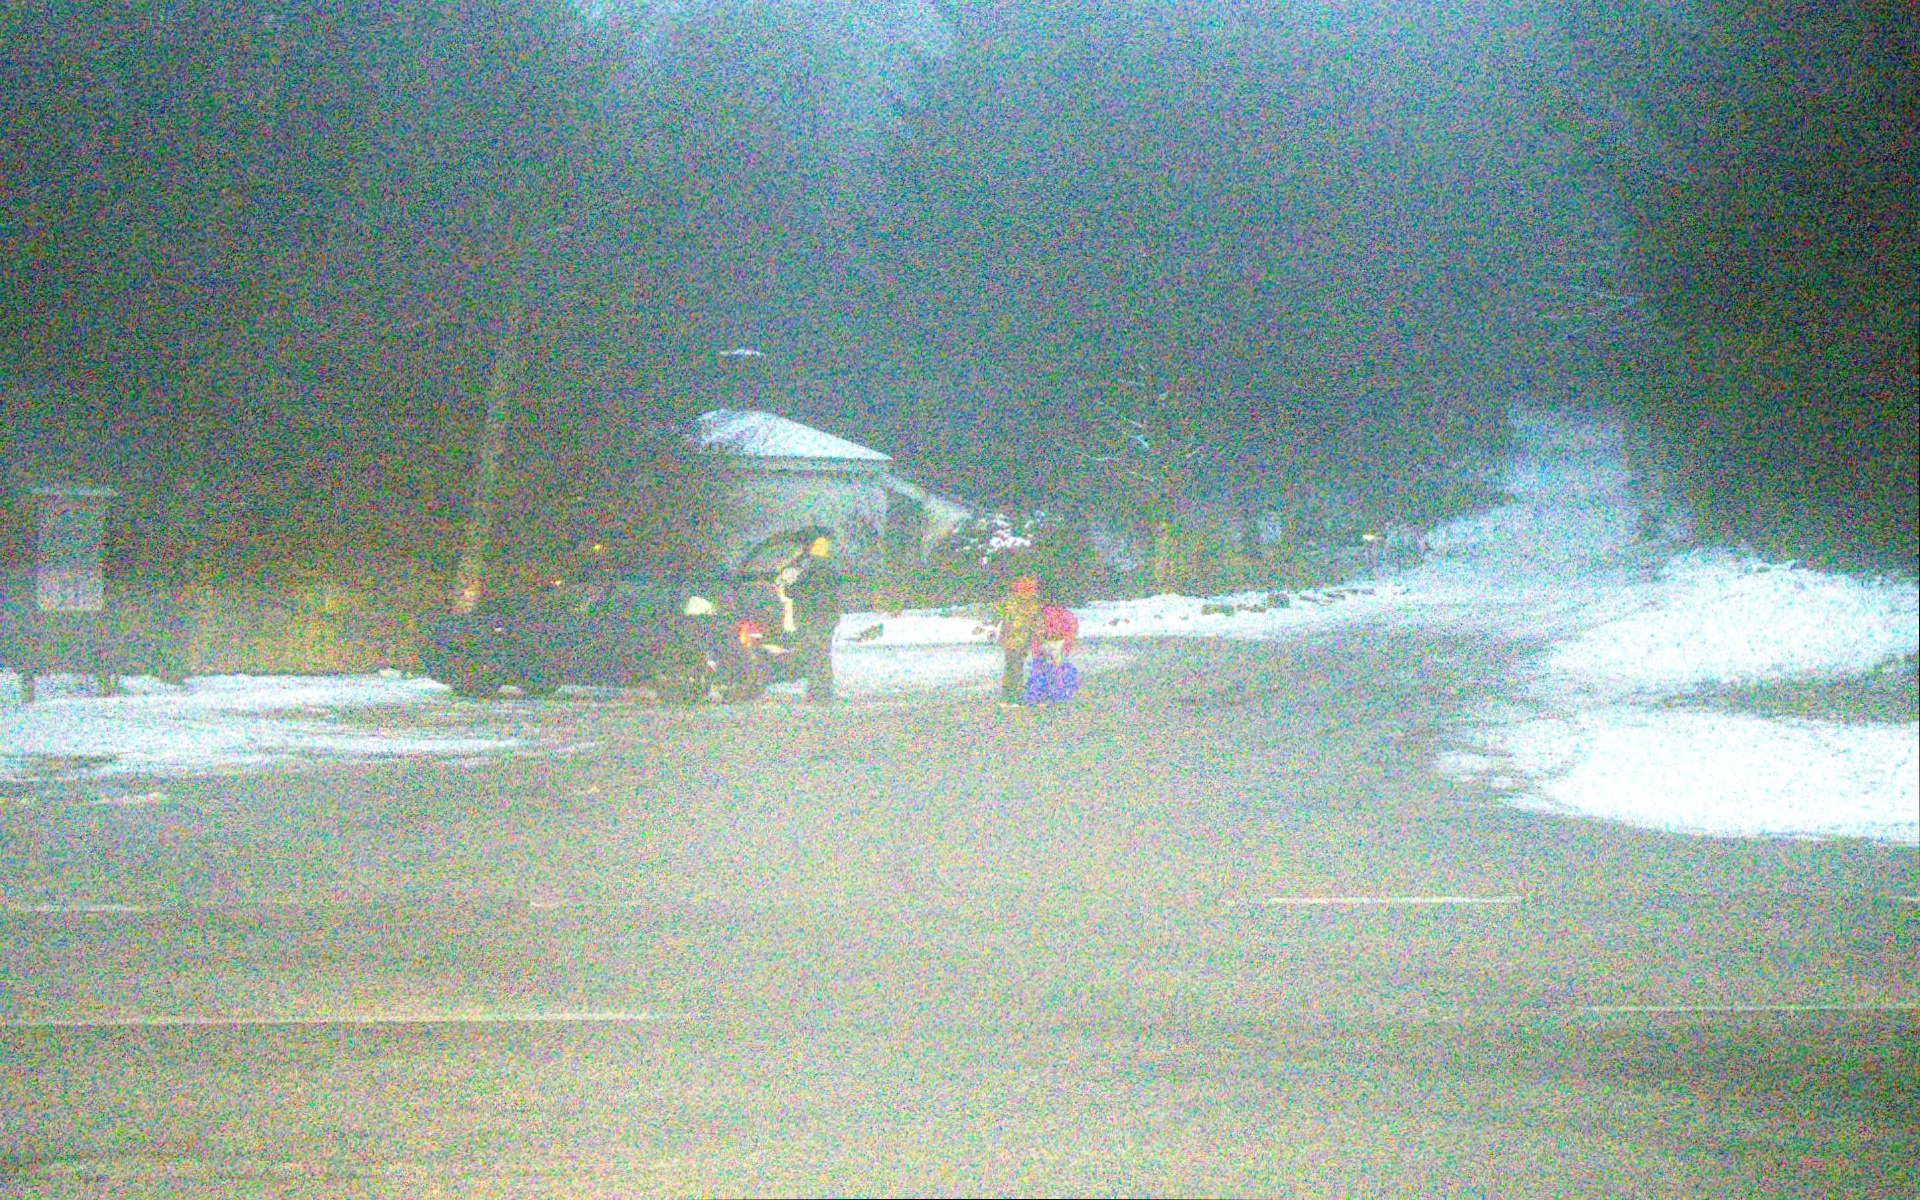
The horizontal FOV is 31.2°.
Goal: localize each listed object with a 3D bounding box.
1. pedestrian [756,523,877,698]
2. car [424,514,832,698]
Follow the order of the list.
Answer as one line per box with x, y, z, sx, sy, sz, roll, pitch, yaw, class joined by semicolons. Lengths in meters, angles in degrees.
-1.518;0.110;36.478;0.961;1.822;0.924;1;0;21;pedestrian
-3.610;0.058;37.612;3.950;1.875;1.998;1;0;16;car
